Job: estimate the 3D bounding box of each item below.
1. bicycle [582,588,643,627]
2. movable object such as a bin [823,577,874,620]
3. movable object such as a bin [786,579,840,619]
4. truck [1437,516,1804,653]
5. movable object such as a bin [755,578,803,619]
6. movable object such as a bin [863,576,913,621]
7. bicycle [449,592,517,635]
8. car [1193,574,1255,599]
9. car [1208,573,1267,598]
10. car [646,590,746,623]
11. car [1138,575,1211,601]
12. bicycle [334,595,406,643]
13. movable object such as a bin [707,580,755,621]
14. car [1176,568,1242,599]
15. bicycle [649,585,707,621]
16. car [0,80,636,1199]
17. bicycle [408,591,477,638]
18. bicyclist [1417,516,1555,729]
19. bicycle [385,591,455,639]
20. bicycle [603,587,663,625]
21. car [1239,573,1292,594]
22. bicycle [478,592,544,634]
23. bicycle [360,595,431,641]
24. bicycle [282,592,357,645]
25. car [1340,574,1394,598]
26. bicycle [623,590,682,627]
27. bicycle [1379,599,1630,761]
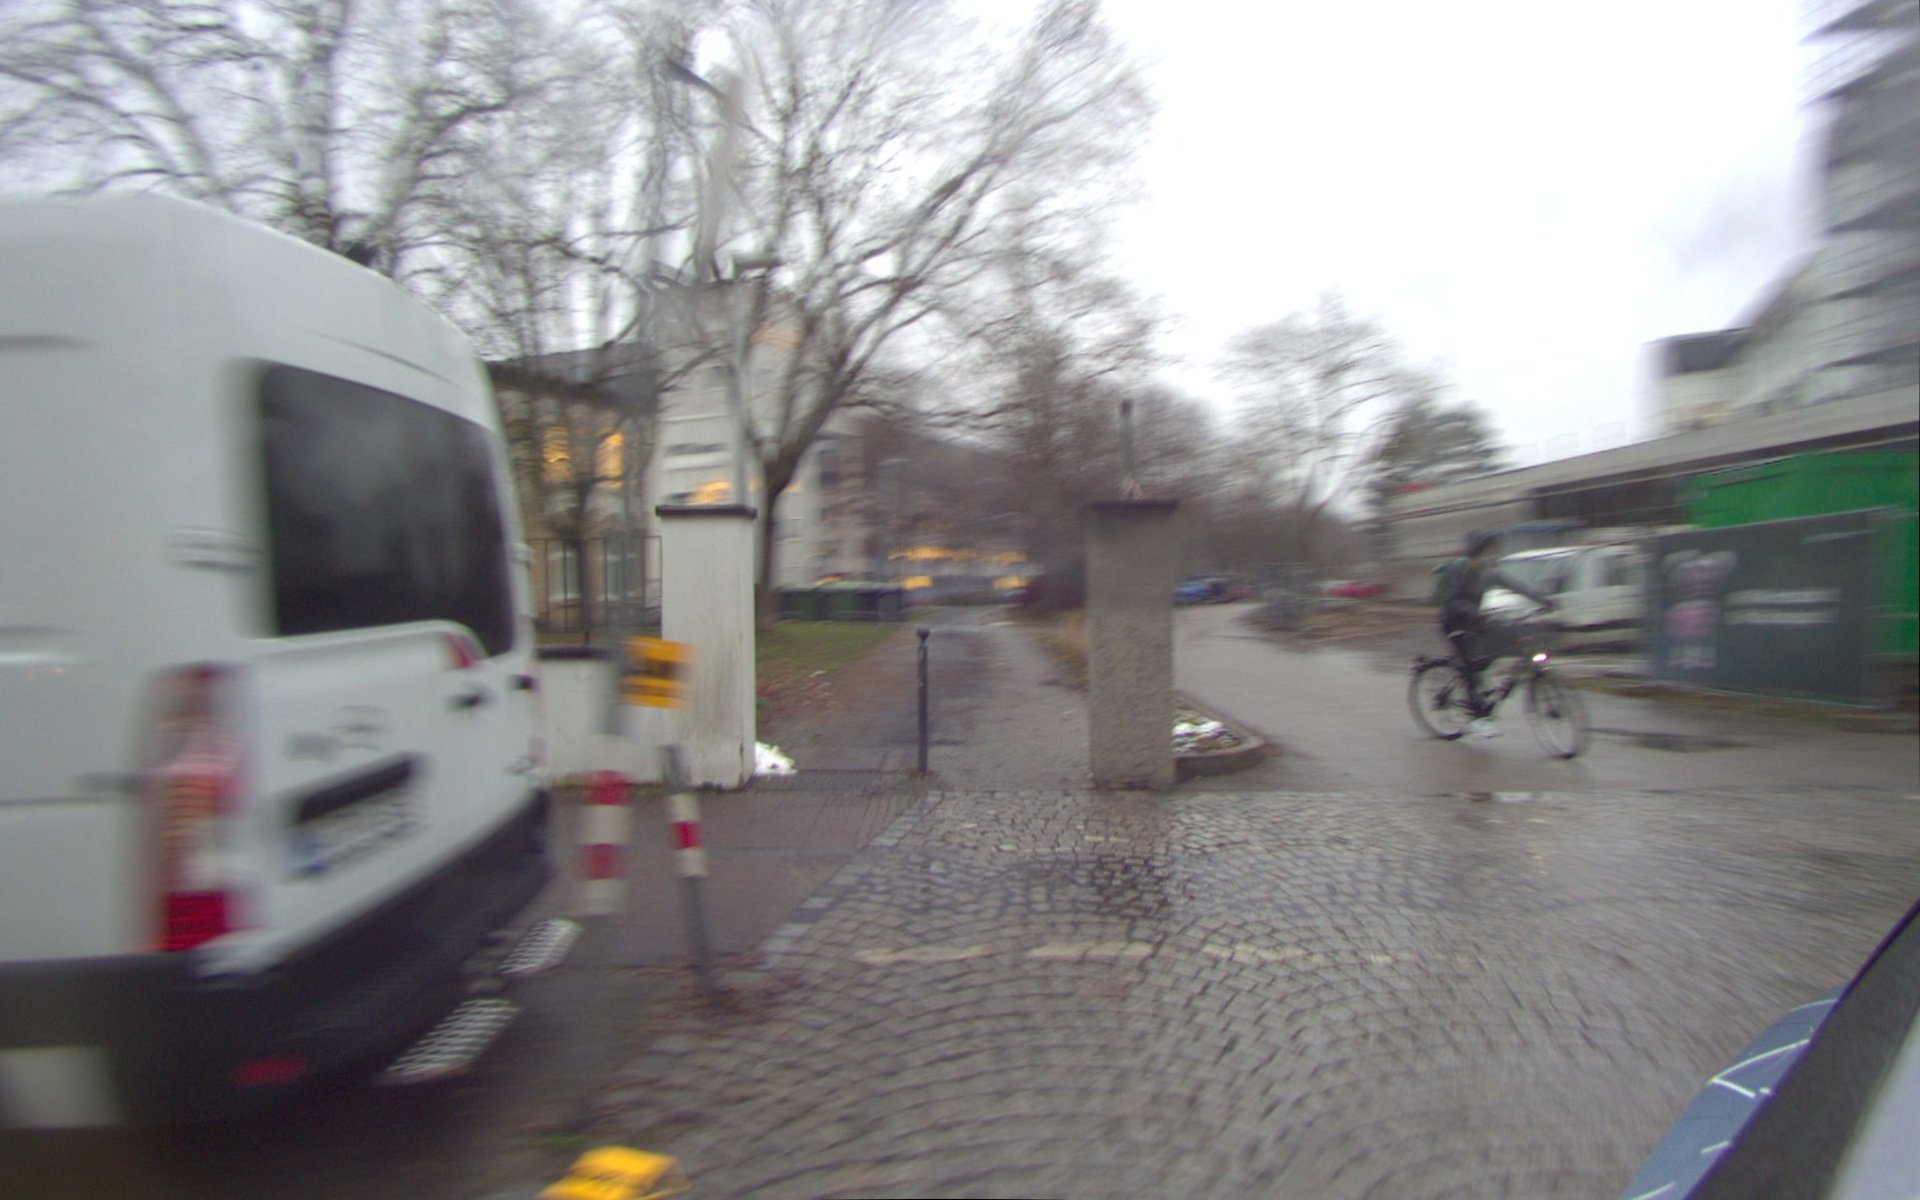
[{"bbox_3d":[-10.849,0.230,31.591,2.124,1.171,0.567,1,1,31],"label":"bicycle"},{"bbox_3d":[-3.511,-0.066,31.877,1.293,1.330,0.980,0,1,24],"label":"movable object such as a bin"},{"bbox_3d":[-4.702,-0.052,32.486,1.422,1.240,0.980,0,1,24],"label":"movable object such as a bin"},{"bbox_3d":[14.346,-0.373,22.163,6.937,2.620,2.136,-2,1,-7],"label":"truck"},{"bbox_3d":[-5.934,-0.063,33.242,1.238,1.296,0.980,0,1,24],"label":"movable object such as a bin"},{"bbox_3d":[-2.224,-0.062,31.298,1.303,1.333,1.060,1,2,11],"label":"movable object such as a bin"},{"bbox_3d":[-12.969,0.359,27.489,2.124,1.105,0.567,1,1,31],"label":"bicycle"},{"bbox_3d":[18.973,-0.984,72.882,3.967,1.682,1.979,1,1,31],"label":"car"},{"bbox_3d":[20.682,-1.064,75.382,3.967,1.818,1.783,1,1,31],"label":"car"},{"bbox_3d":[-11.538,0.269,44.425,1.986,1.297,3.953,1,2,33],"label":"car"},{"bbox_3d":[13.499,-0.753,63.732,4.141,1.497,1.981,1,-1,27],"label":"car"},{"bbox_3d":[-14.413,0.443,24.700,2.124,1.063,0.567,2,2,31],"label":"bicycle"},{"bbox_3d":[-7.609,-0.009,33.631,1.249,1.330,0.980,0,1,24],"label":"movable object such as a bin"},{"bbox_3d":[16.880,-1.139,68.613,3.967,2.016,1.979,1,1,31],"label":"car"},{"bbox_3d":[-9.498,0.073,34.068,2.124,1.171,0.567,1,1,31],"label":"bicycle"},{"bbox_3d":[-3.979,0.179,3.064,5.332,2.517,2.133,0,2,-2],"label":"car"},{"bbox_3d":[-13.501,0.358,26.377,2.124,1.171,0.567,1,1,31],"label":"bicycle"},{"bbox_3d":[4.451,0.165,8.595,0.692,1.710,0.773,-1,1,-16],"label":"bicyclist"},{"bbox_3d":[-13.790,0.355,25.835,2.124,1.171,0.567,1,1,31],"label":"bicycle"},{"bbox_3d":[-10.469,0.176,32.387,2.124,1.171,0.567,1,1,31],"label":"bicycle"},{"bbox_3d":[25.649,-1.381,84.945,3.967,1.682,1.979,1,1,31],"label":"car"},{"bbox_3d":[-12.566,0.357,28.299,2.124,1.124,0.567,1,1,31],"label":"bicycle"},{"bbox_3d":[-14.113,0.433,25.272,2.124,1.029,0.567,3,2,31],"label":"bicycle"},{"bbox_3d":[-14.871,0.413,23.471,2.124,1.171,0.567,1,1,31],"label":"bicycle"},{"bbox_3d":[27.527,-0.953,68.425,3.276,1.542,1.689,0,1,27],"label":"car"},{"bbox_3d":[-10.125,0.267,33.315,2.124,1.171,0.567,1,1,31],"label":"bicycle"},{"bbox_3d":[4.484,0.593,8.523,0.715,1.147,1.898,-1,1,-18],"label":"bicycle"}]
